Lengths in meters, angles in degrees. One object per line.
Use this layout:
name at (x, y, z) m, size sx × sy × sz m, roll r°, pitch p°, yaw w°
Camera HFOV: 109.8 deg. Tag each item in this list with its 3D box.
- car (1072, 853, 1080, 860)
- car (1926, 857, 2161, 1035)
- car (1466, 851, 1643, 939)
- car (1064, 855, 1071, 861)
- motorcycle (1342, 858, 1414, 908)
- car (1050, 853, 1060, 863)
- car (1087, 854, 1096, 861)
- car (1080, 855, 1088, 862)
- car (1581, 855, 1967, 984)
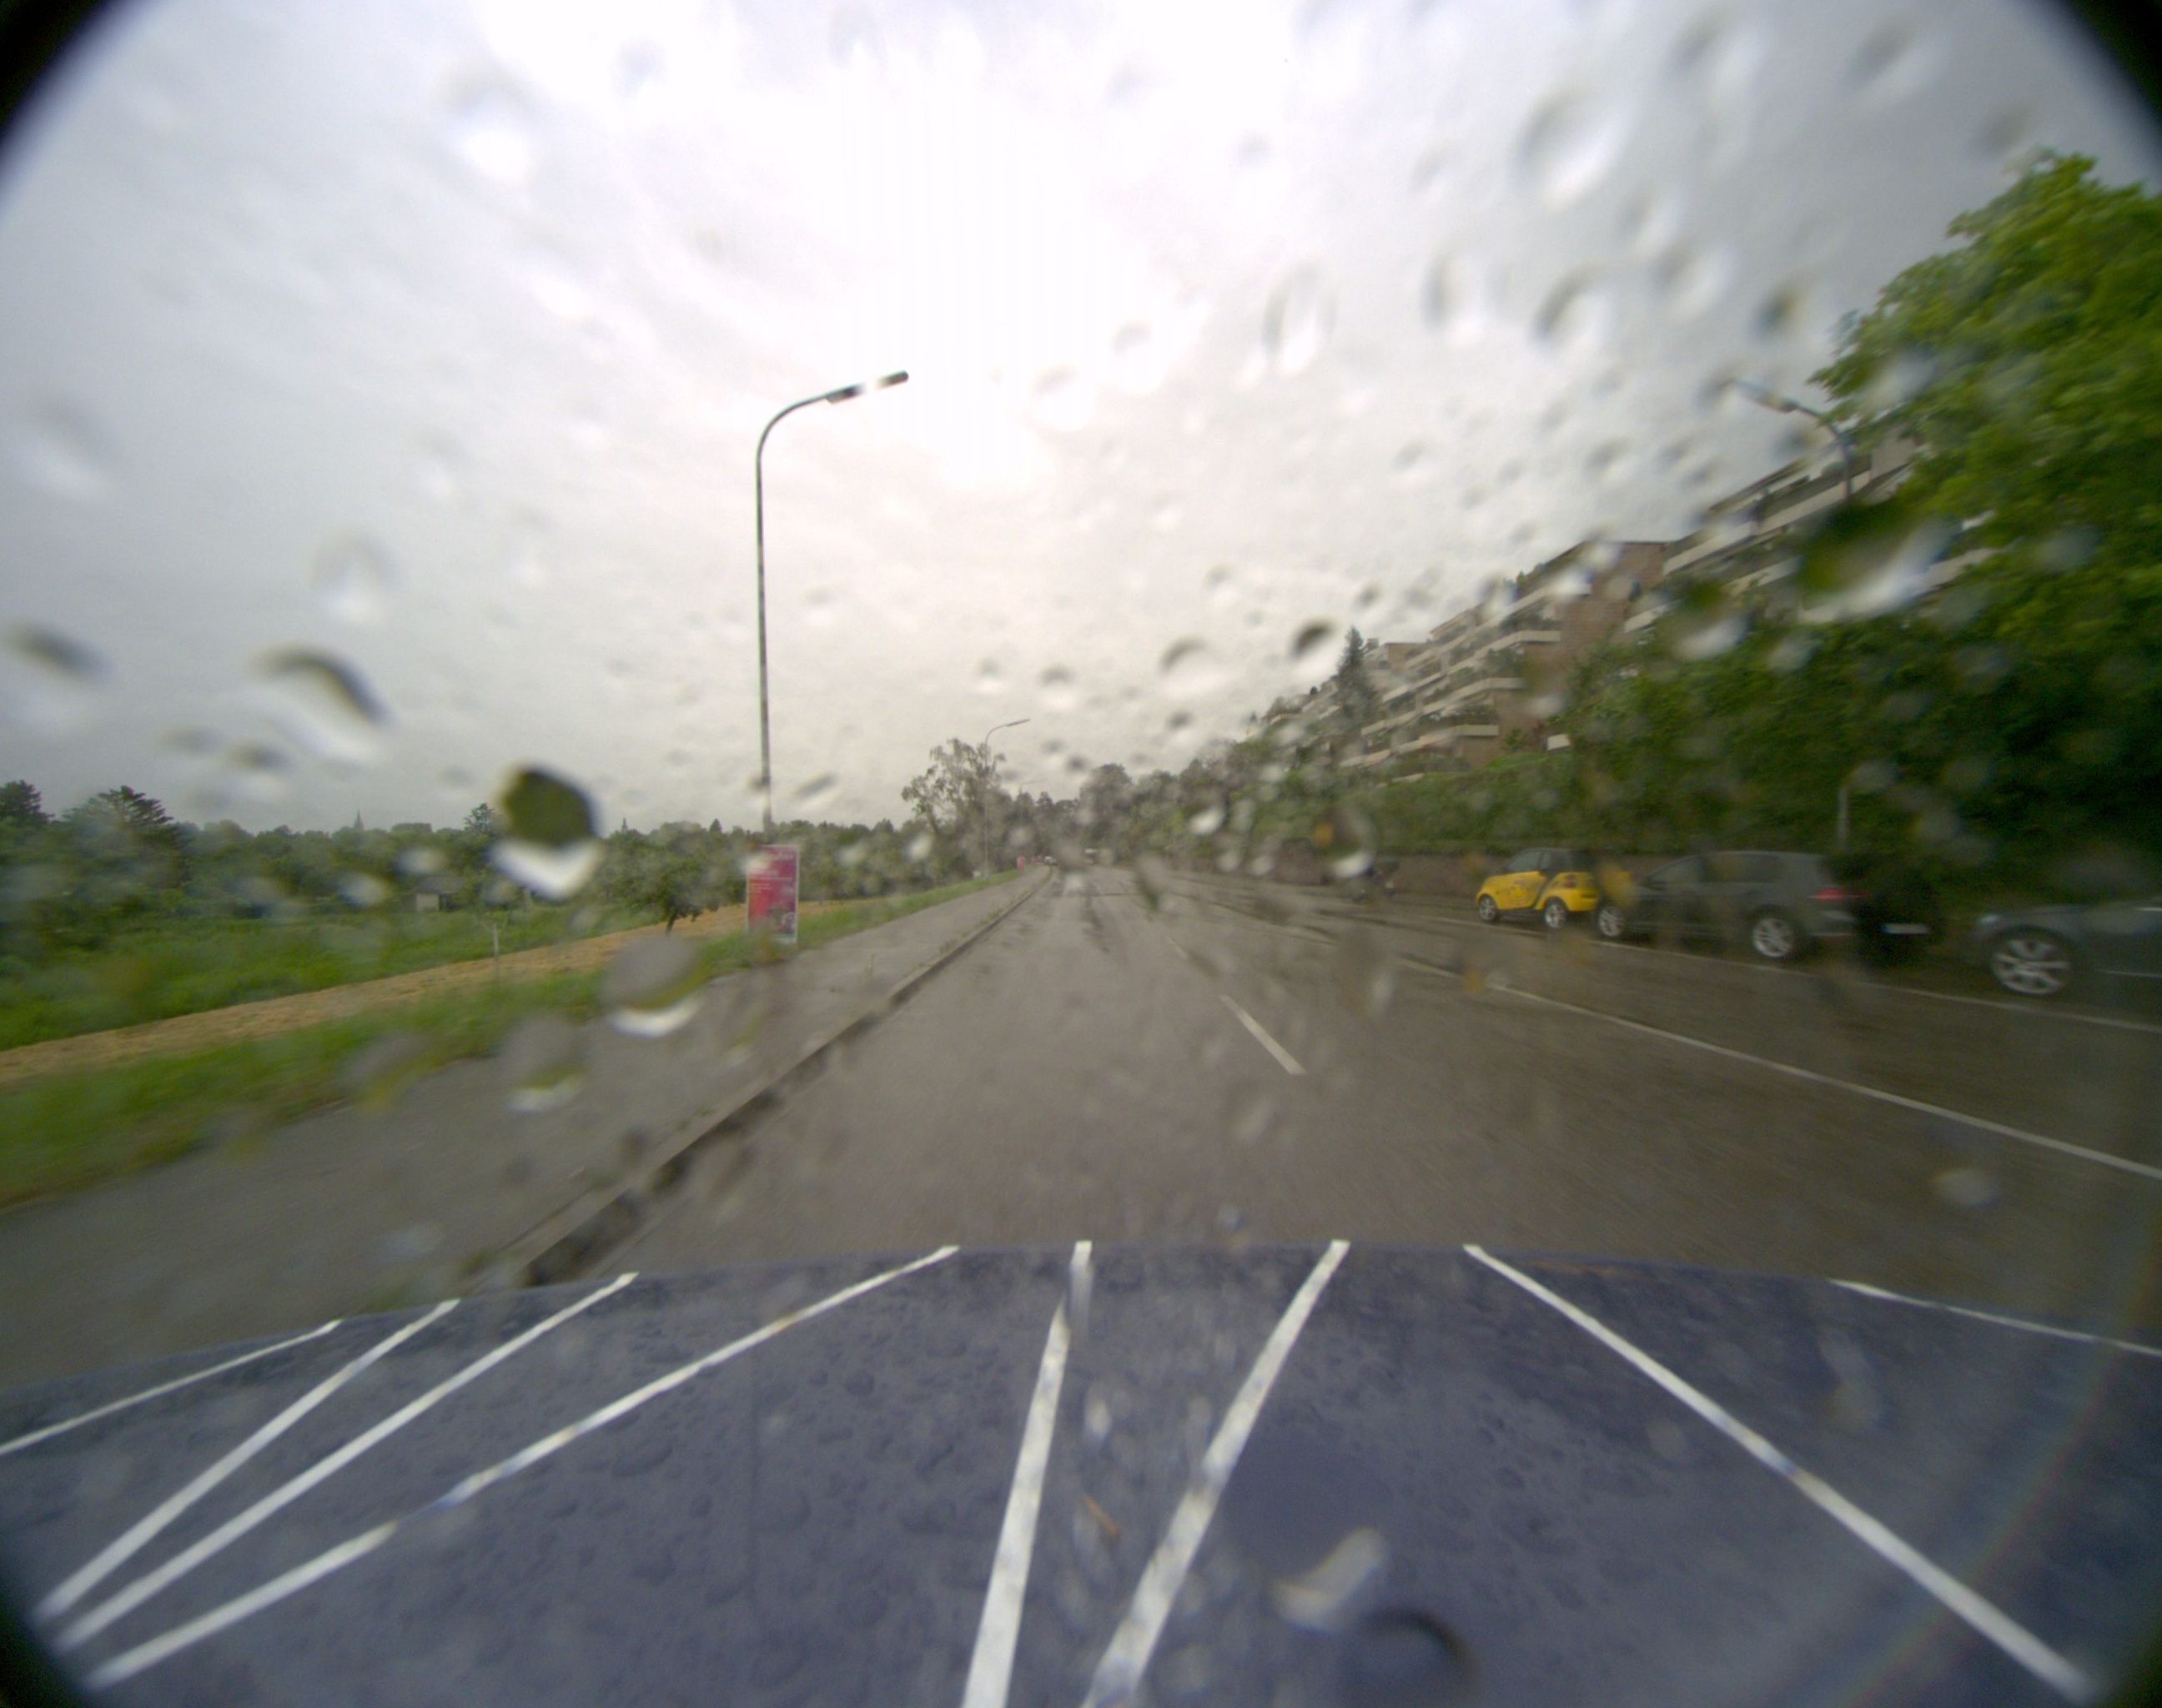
car at (-1.395, 0.664, 204.942) m, size 1.853 × 1.583 × 3.704 m, roll -2°, pitch 0°, yaw -3°
car at (9.658, 0.761, 5.493) m, size 1.691 × 1.411 × 4.740 m, roll -1°, pitch 0°, yaw -3°
car at (9.059, 0.710, 14.776) m, size 1.438 × 1.528 × 2.817 m, roll -1°, pitch 0°, yaw -9°
car at (-3.551, 0.988, 198.980) m, size 1.597 × 1.433 × 3.703 m, roll 1°, pitch 0°, yaw -3°
motorcycle at (8.453, 0.791, 21.738) m, size 0.840 × 1.333 × 2.497 m, roll -1°, pitch 0°, yaw -7°
car at (-5.425, 0.840, 160.541) m, size 1.999 × 2.001 × 4.000 m, roll -1°, pitch -1°, yaw -2°
car at (2.378, 0.777, 169.513) m, size 1.853 × 1.583 × 3.704 m, roll -2°, pitch 0°, yaw -3°
car at (0.697, 1.124, 187.545) m, size 1.853 × 1.583 × 3.704 m, roll -2°, pitch 0°, yaw -3°
car at (9.231, 0.744, 10.671) m, size 1.437 × 1.411 × 4.101 m, roll -1°, pitch 0°, yaw -5°
